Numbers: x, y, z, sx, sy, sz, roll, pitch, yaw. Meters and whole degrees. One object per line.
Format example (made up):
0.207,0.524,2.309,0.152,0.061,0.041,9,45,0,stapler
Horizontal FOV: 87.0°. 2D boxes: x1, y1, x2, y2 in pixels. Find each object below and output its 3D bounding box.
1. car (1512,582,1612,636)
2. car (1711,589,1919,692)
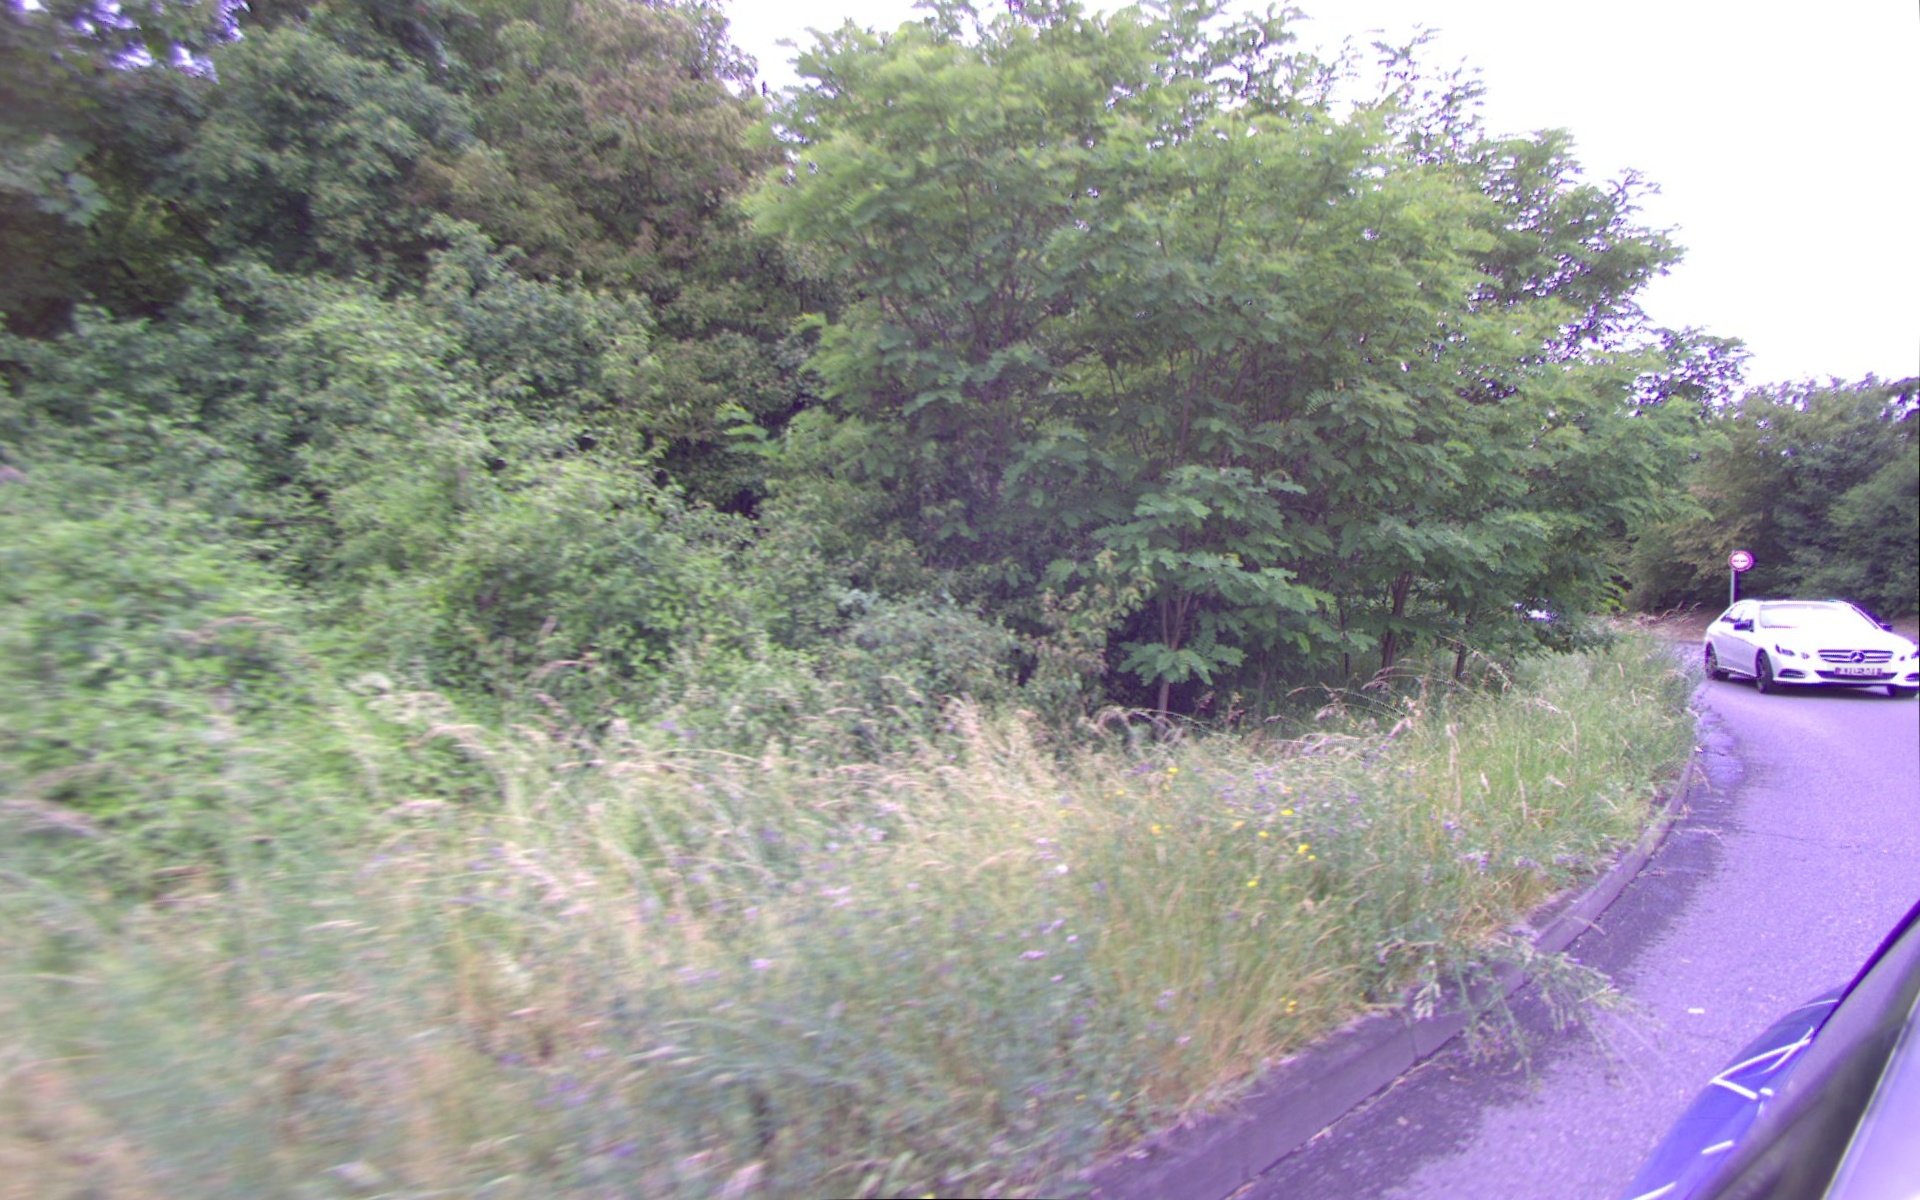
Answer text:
19.224,0.277,32.508,1.798,1.564,3.707,2,0,16,car
13.798,0.568,16.301,1.868,1.440,3.967,-1,0,24,car
